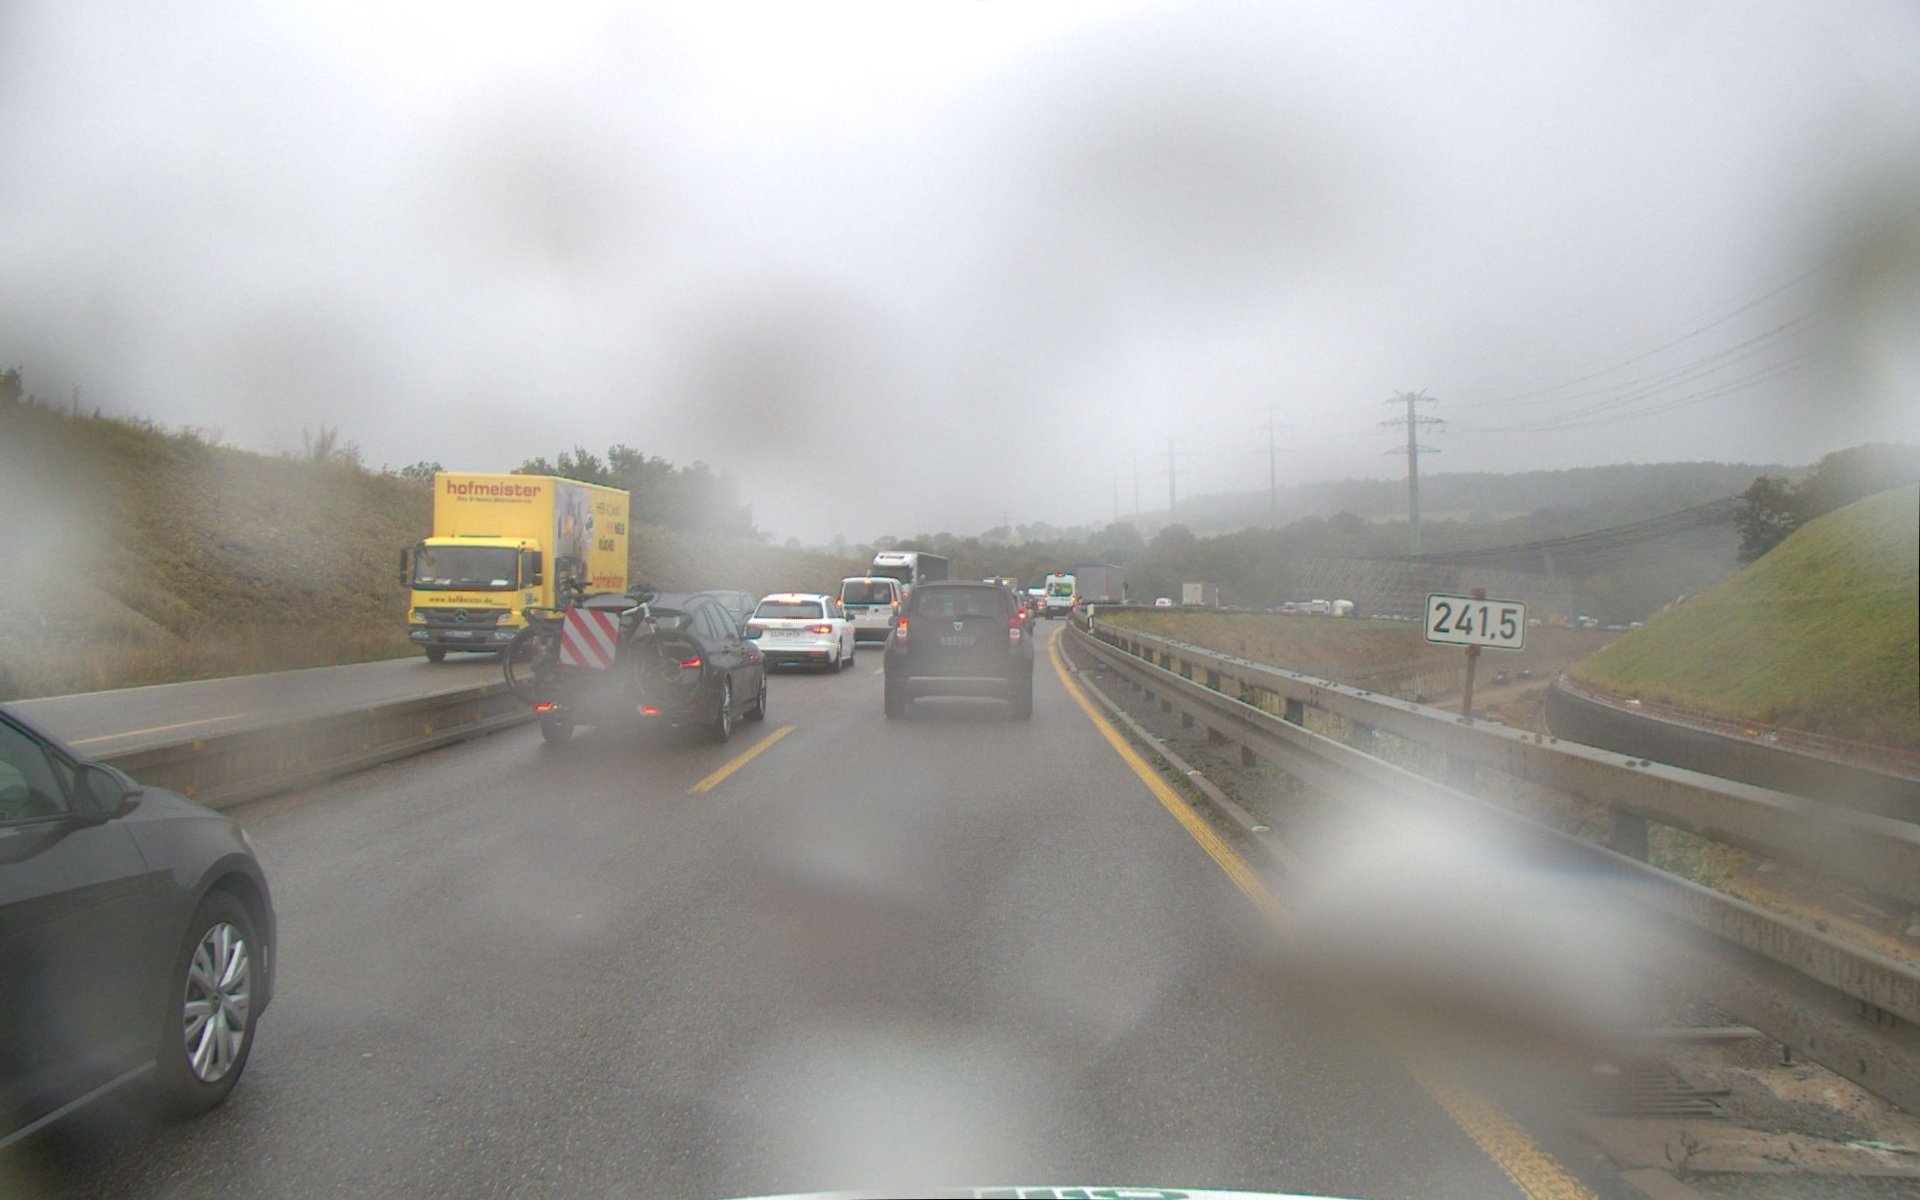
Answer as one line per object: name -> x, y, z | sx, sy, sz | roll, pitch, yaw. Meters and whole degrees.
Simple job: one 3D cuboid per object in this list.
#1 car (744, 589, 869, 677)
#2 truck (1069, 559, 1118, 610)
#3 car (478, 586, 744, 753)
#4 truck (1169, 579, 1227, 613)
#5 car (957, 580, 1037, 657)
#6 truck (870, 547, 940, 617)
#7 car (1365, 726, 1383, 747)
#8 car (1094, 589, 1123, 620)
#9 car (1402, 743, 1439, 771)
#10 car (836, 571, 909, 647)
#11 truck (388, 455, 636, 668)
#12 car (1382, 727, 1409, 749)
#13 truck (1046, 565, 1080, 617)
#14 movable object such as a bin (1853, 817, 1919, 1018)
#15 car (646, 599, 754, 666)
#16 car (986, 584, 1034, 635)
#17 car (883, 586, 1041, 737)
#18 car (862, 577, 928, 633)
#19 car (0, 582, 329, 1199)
car -> -2.811, 0.561, 31.269 | 1.829, 1.486, 4.549 | 2, 0, 1
truck -> 10.753, -1.217, 132.657 | 3.132, 3.827, 8.516 | 1, 0, 9
car -> -3.429, 0.626, 16.960 | 1.791, 1.502, 3.777 | 0, 0, 2
truck -> 31.463, -0.497, 218.145 | 4.619, 4.222, 15.687 | 2, 0, 19
car -> 0.887, 0.420, 40.373 | 1.829, 1.738, 4.001 | 1, 0, 1
truck -> -3.416, -1.142, 107.759 | 2.871, 4.168, 14.399 | 1, 0, 5
car -> 48.398, 15.960, 193.318 | 1.951, 2.049, 4.003 | 2, 0, 15
car -> 9.543, 0.269, 106.302 | 1.737, 1.949, 4.003 | 1, 0, 5
car -> 41.305, 14.084, 148.370 | 2.316, 2.049, 4.001 | 2, 0, 2
car -> -2.313, 0.225, 44.602 | 1.626, 1.912, 4.020 | 1, 0, 1
truck -> -9.423, -0.768, 35.973 | 2.710, 4.066, 8.425 | 1, 0, 3
car -> 43.647, 13.802, 165.834 | 1.951, 1.847, 4.002 | 1, 0, 4
truck -> 6.707, -0.608, 107.873 | 2.104, 3.221, 6.462 | 1, 0, 3
movable object such as a bin -> 22.265, 7.070, 36.069 | 3.149, 3.934, 4.122 | 2, 1, -1
car -> -6.085, 0.739, 39.152 | 1.829, 1.431, 4.115 | 2, 0, 1
car -> 1.721, 0.304, 57.883 | 1.499, 1.669, 4.012 | 1, 0, 0
car -> 0.097, 0.685, 20.470 | 1.767, 1.674, 3.777 | 0, 0, 2
car -> -2.117, 0.143, 54.675 | 1.829, 1.738, 4.093 | 1, 0, 2
car -> -2.796, 0.747, 3.133 | 1.581, 1.532, 4.367 | -1, 0, -1
